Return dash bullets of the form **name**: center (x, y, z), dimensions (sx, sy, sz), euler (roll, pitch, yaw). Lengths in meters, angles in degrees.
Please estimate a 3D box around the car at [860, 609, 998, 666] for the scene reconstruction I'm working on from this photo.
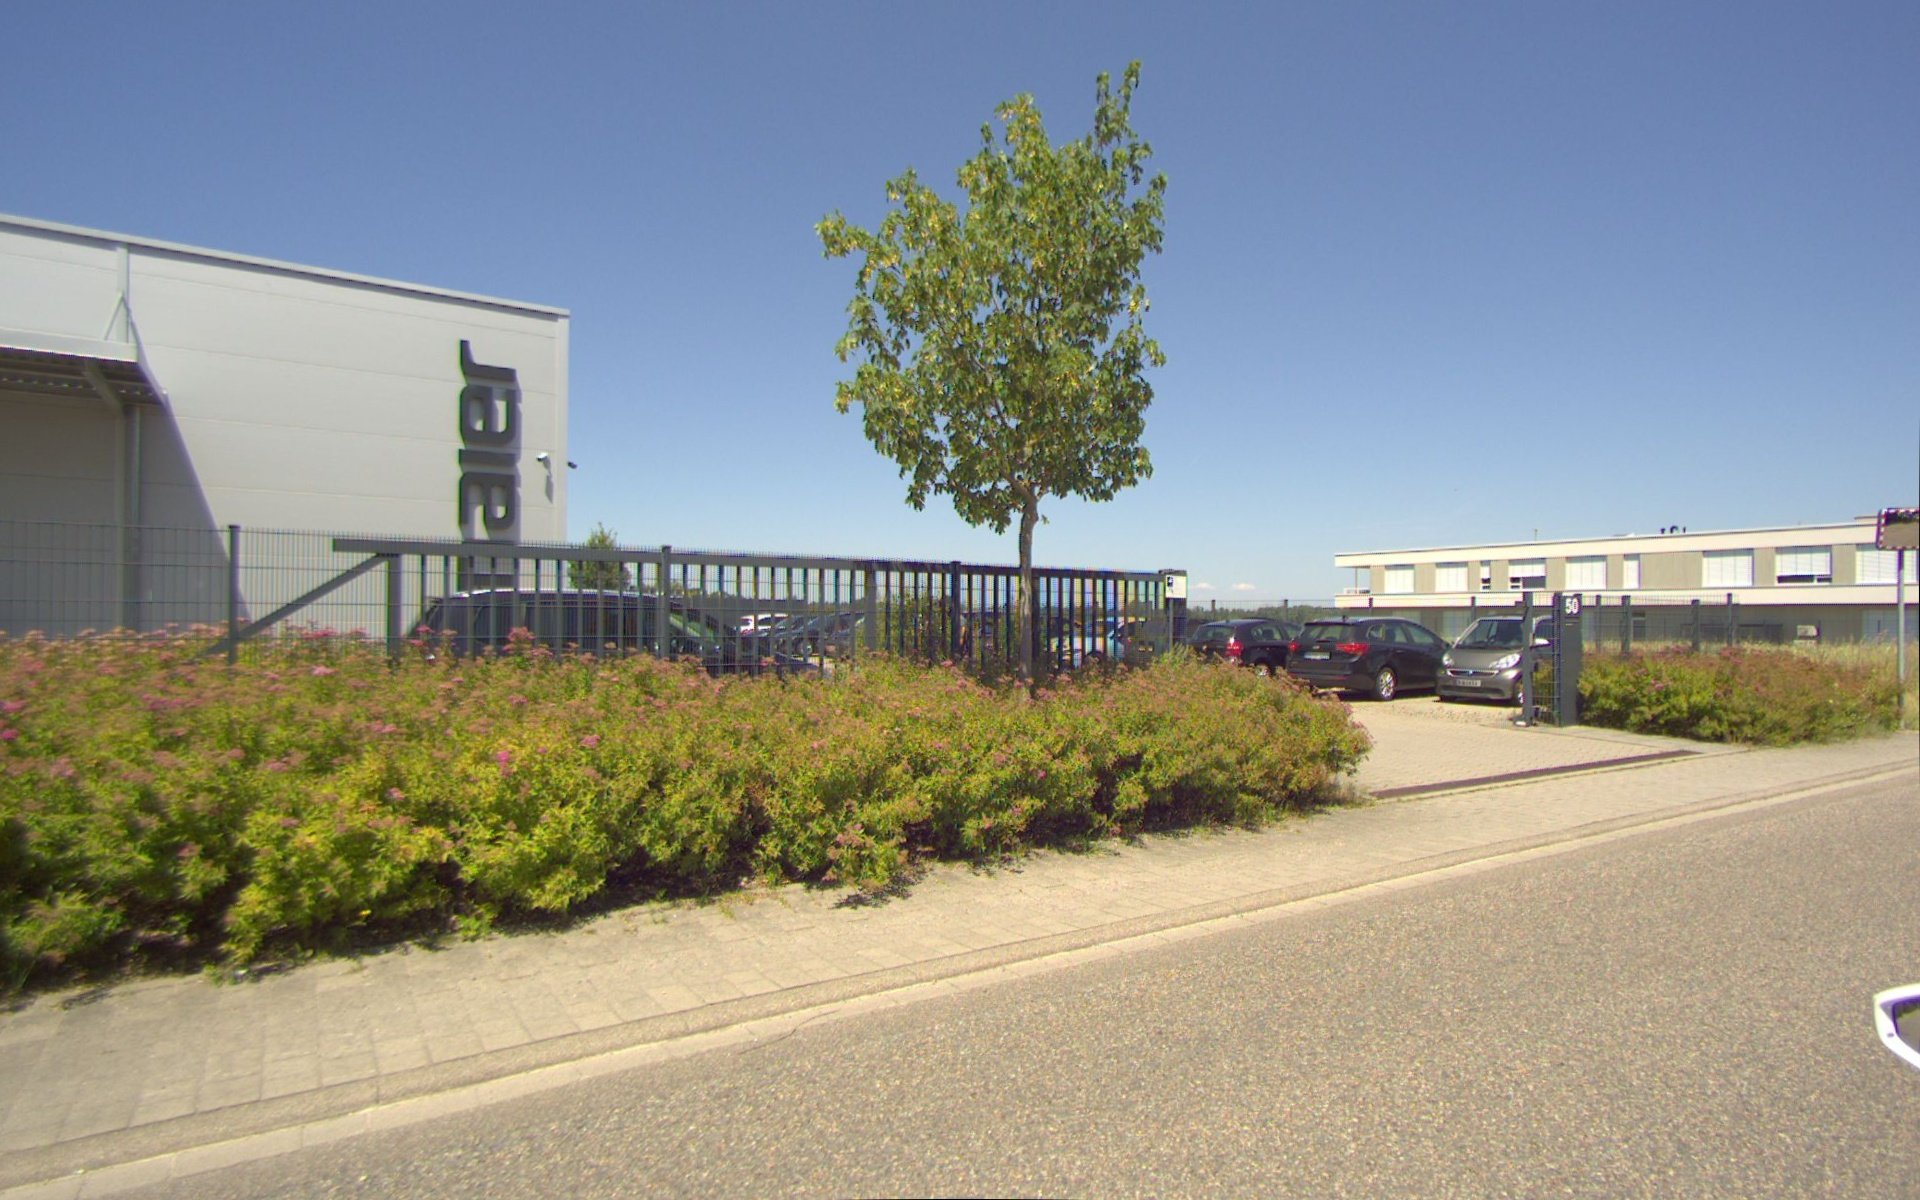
- **car**: center (-0.920, 1.106, 30.545), dimensions (3.961, 1.626, 1.660), euler (1, -2, -36)

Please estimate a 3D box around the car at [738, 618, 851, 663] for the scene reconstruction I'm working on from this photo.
- **car**: center (-6.516, 1.573, 39.640), dimensions (3.956, 1.706, 1.982), euler (1, -1, -33)

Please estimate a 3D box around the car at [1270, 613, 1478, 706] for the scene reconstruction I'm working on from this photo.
- **car**: center (7.841, 1.051, 18.926), dimensions (3.961, 1.561, 1.813), euler (1, -1, -36)

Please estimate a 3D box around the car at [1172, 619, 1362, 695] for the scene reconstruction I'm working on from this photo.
- **car**: center (6.460, 1.127, 21.002), dimensions (3.961, 1.459, 1.789), euler (1, -1, -36)

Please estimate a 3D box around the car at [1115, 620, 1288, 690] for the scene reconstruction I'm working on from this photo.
- **car**: center (5.537, 1.193, 22.844), dimensions (3.961, 1.459, 1.660), euler (1, -1, -36)

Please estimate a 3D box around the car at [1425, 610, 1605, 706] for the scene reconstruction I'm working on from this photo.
- **car**: center (9.825, 0.968, 17.756), dimensions (2.968, 1.540, 1.689), euler (1, -1, -36)

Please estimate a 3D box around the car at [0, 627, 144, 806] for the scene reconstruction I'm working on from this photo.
- **car**: center (-8.770, 0.866, 7.473), dimensions (3.955, 1.298, 1.787), euler (1, -1, -32)

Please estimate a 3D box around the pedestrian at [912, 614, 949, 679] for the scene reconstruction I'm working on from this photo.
- **pedestrian**: center (-0.769, 1.210, 26.349), dimensions (0.613, 1.650, 0.771), euler (0, -1, 43)

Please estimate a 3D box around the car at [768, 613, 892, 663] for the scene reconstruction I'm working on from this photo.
- **car**: center (-4.473, 1.297, 34.880), dimensions (3.961, 1.627, 1.660), euler (1, -1, -36)

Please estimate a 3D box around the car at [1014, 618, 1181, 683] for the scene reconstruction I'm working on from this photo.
- **car**: center (3.354, 1.172, 24.260), dimensions (3.961, 1.459, 1.660), euler (1, -1, -36)

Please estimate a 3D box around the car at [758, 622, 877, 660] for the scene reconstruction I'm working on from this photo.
- **car**: center (-5.331, 1.515, 37.585), dimensions (3.956, 1.327, 1.982), euler (1, -1, -33)

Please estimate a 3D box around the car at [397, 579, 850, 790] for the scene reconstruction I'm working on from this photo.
- **car**: center (-3.381, 0.745, 10.235), dimensions (4.045, 1.746, 1.983), euler (1, -1, -32)

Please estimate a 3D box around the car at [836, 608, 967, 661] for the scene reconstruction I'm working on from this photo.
- **car**: center (-1.870, 1.088, 32.500), dimensions (3.961, 1.627, 1.660), euler (1, -1, -36)

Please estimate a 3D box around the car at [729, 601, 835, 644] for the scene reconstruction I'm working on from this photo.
- **car**: center (-7.444, 0.932, 42.135), dimensions (3.956, 1.706, 1.982), euler (1, -1, -33)

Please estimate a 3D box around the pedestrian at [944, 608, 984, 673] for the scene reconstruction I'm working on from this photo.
- **pedestrian**: center (0.103, 1.071, 26.993), dimensions (0.823, 1.705, 0.704), euler (1, -1, -41)

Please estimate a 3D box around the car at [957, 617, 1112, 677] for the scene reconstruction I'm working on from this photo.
- **car**: center (2.001, 1.192, 26.515), dimensions (3.961, 1.459, 1.660), euler (1, -1, -36)
